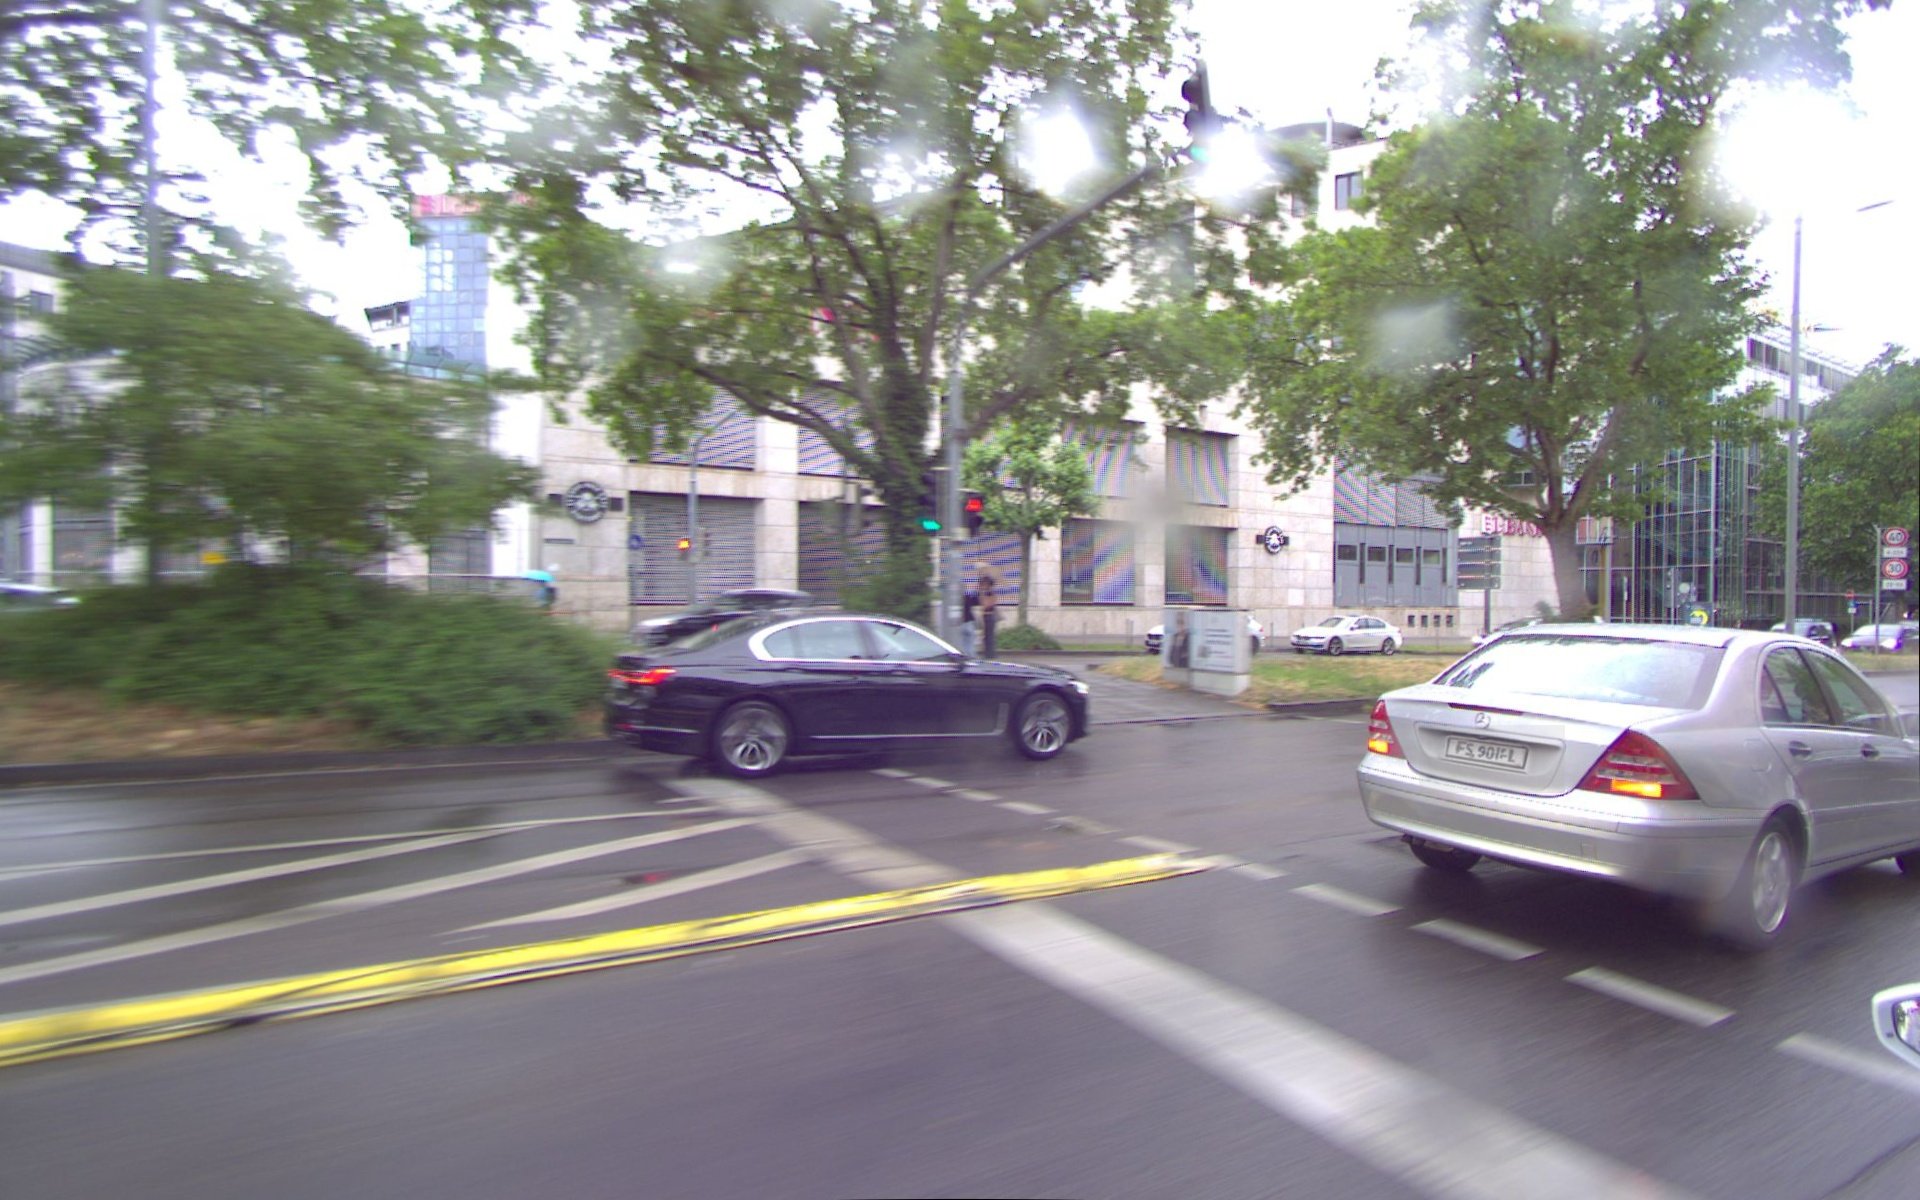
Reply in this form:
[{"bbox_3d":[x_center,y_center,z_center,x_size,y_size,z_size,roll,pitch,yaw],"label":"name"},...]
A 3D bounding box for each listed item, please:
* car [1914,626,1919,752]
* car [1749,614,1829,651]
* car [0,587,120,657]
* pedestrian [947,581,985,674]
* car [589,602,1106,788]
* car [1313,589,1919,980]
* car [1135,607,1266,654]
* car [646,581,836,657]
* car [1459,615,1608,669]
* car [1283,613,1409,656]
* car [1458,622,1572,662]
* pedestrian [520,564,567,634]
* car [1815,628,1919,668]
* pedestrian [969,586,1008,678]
[{"bbox_3d":[13.405,1.127,12.426,3.965,1.476,1.760,2,-1,-38],"label":"car"},{"bbox_3d":[40.156,1.577,48.642,4.047,1.661,1.820,2,-1,-33],"label":"car"},{"bbox_3d":[-20.435,0.412,20.996,3.984,1.399,1.838,2,-1,-22],"label":"car"},{"bbox_3d":[0.113,0.479,18.053,0.544,1.636,0.425,2,1,19],"label":"pedestrian"},{"bbox_3d":[-1.041,0.839,10.094,4.818,1.498,1.864,2,-1,-29],"label":"car"},{"bbox_3d":[4.135,0.759,5.757,4.313,1.499,1.663,2,0,-33],"label":"car"},{"bbox_3d":[8.216,1.045,34.287,4.238,1.434,1.741,2,-1,-27],"label":"car"},{"bbox_3d":[-5.366,0.478,24.681,4.237,1.695,1.731,2,-1,-26],"label":"car"},{"bbox_3d":[16.158,1.188,28.255,4.079,1.383,1.740,2,-1,-28],"label":"car"},{"bbox_3d":[14.444,1.296,37.511,4.645,1.434,1.741,2,-1,-27],"label":"car"},{"bbox_3d":[21.120,1.615,38.219,4.119,1.383,1.741,2,-1,-26],"label":"car"},{"bbox_3d":[-11.784,-0.018,28.425,1.113,1.950,0.585,1,2,-32],"label":"pedestrian"},{"bbox_3d":[34.681,1.845,38.300,3.892,1.383,1.741,2,-1,-26],"label":"car"},{"bbox_3d":[0.518,0.576,18.417,0.440,1.636,0.641,2,1,28],"label":"pedestrian"}]
